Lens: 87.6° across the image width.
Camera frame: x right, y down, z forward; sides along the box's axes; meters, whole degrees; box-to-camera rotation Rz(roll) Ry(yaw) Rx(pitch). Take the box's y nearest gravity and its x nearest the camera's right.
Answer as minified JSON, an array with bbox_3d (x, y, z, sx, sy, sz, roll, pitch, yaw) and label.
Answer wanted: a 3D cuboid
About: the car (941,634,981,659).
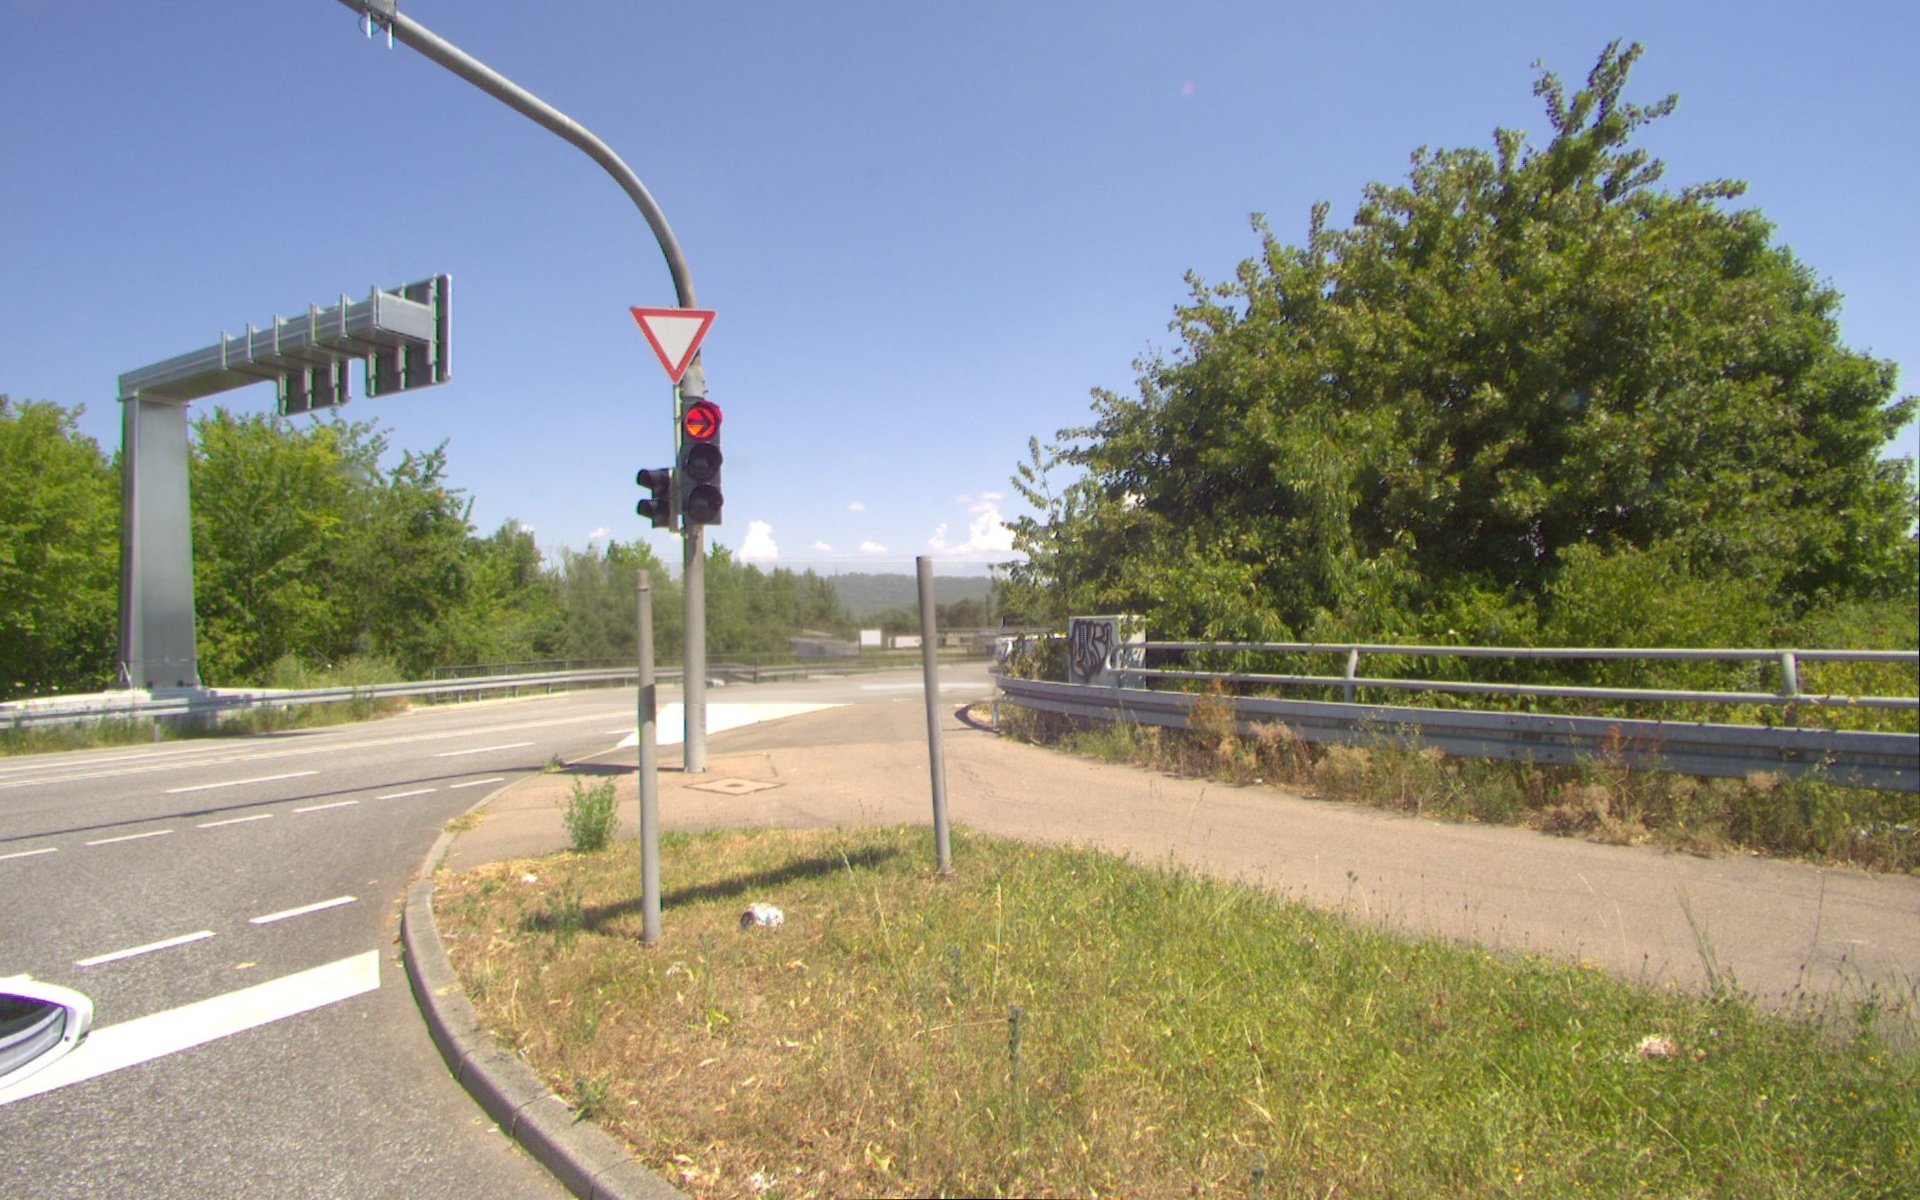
[{"bbox_3d":[0.089,2.809,61.043,1.620,1.369,3.967,-3,-2,12],"label":"car"}]
